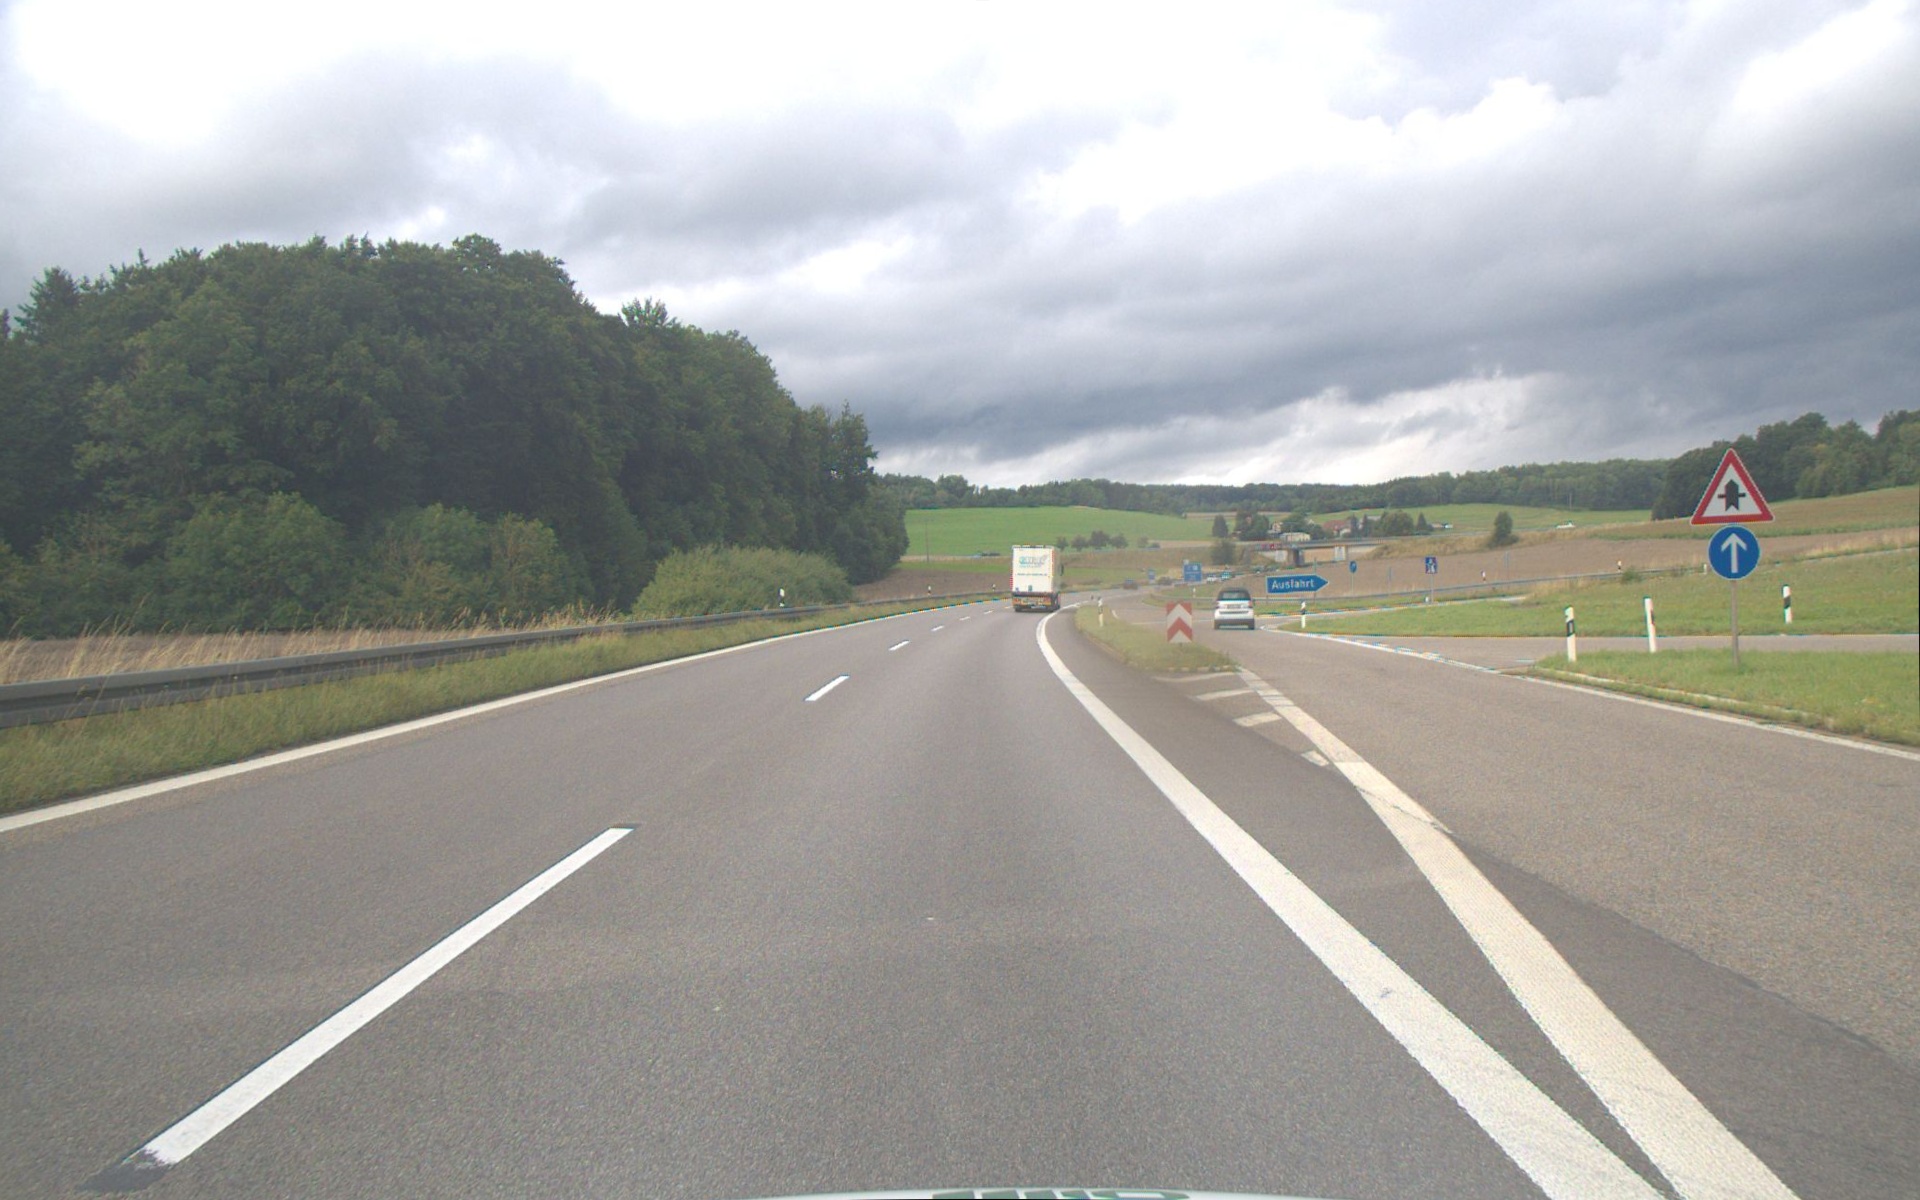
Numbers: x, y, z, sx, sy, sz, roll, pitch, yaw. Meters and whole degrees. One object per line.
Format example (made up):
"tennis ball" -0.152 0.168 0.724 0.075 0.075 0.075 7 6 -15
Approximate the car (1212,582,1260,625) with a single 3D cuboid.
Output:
"car" 10.734 0.109 64.499 1.740 1.579 4.004 -1 1 9

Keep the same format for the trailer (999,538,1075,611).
"trailer" 5.039 -1.639 104.978 3.725 4.247 14.820 1 1 7

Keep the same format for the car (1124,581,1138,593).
"car" 26.383 -1.994 255.133 1.862 1.827 4.003 0 -1 9

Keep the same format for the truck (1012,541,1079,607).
"truck" 5.859 -1.726 111.867 3.707 4.203 8.271 2 1 7
